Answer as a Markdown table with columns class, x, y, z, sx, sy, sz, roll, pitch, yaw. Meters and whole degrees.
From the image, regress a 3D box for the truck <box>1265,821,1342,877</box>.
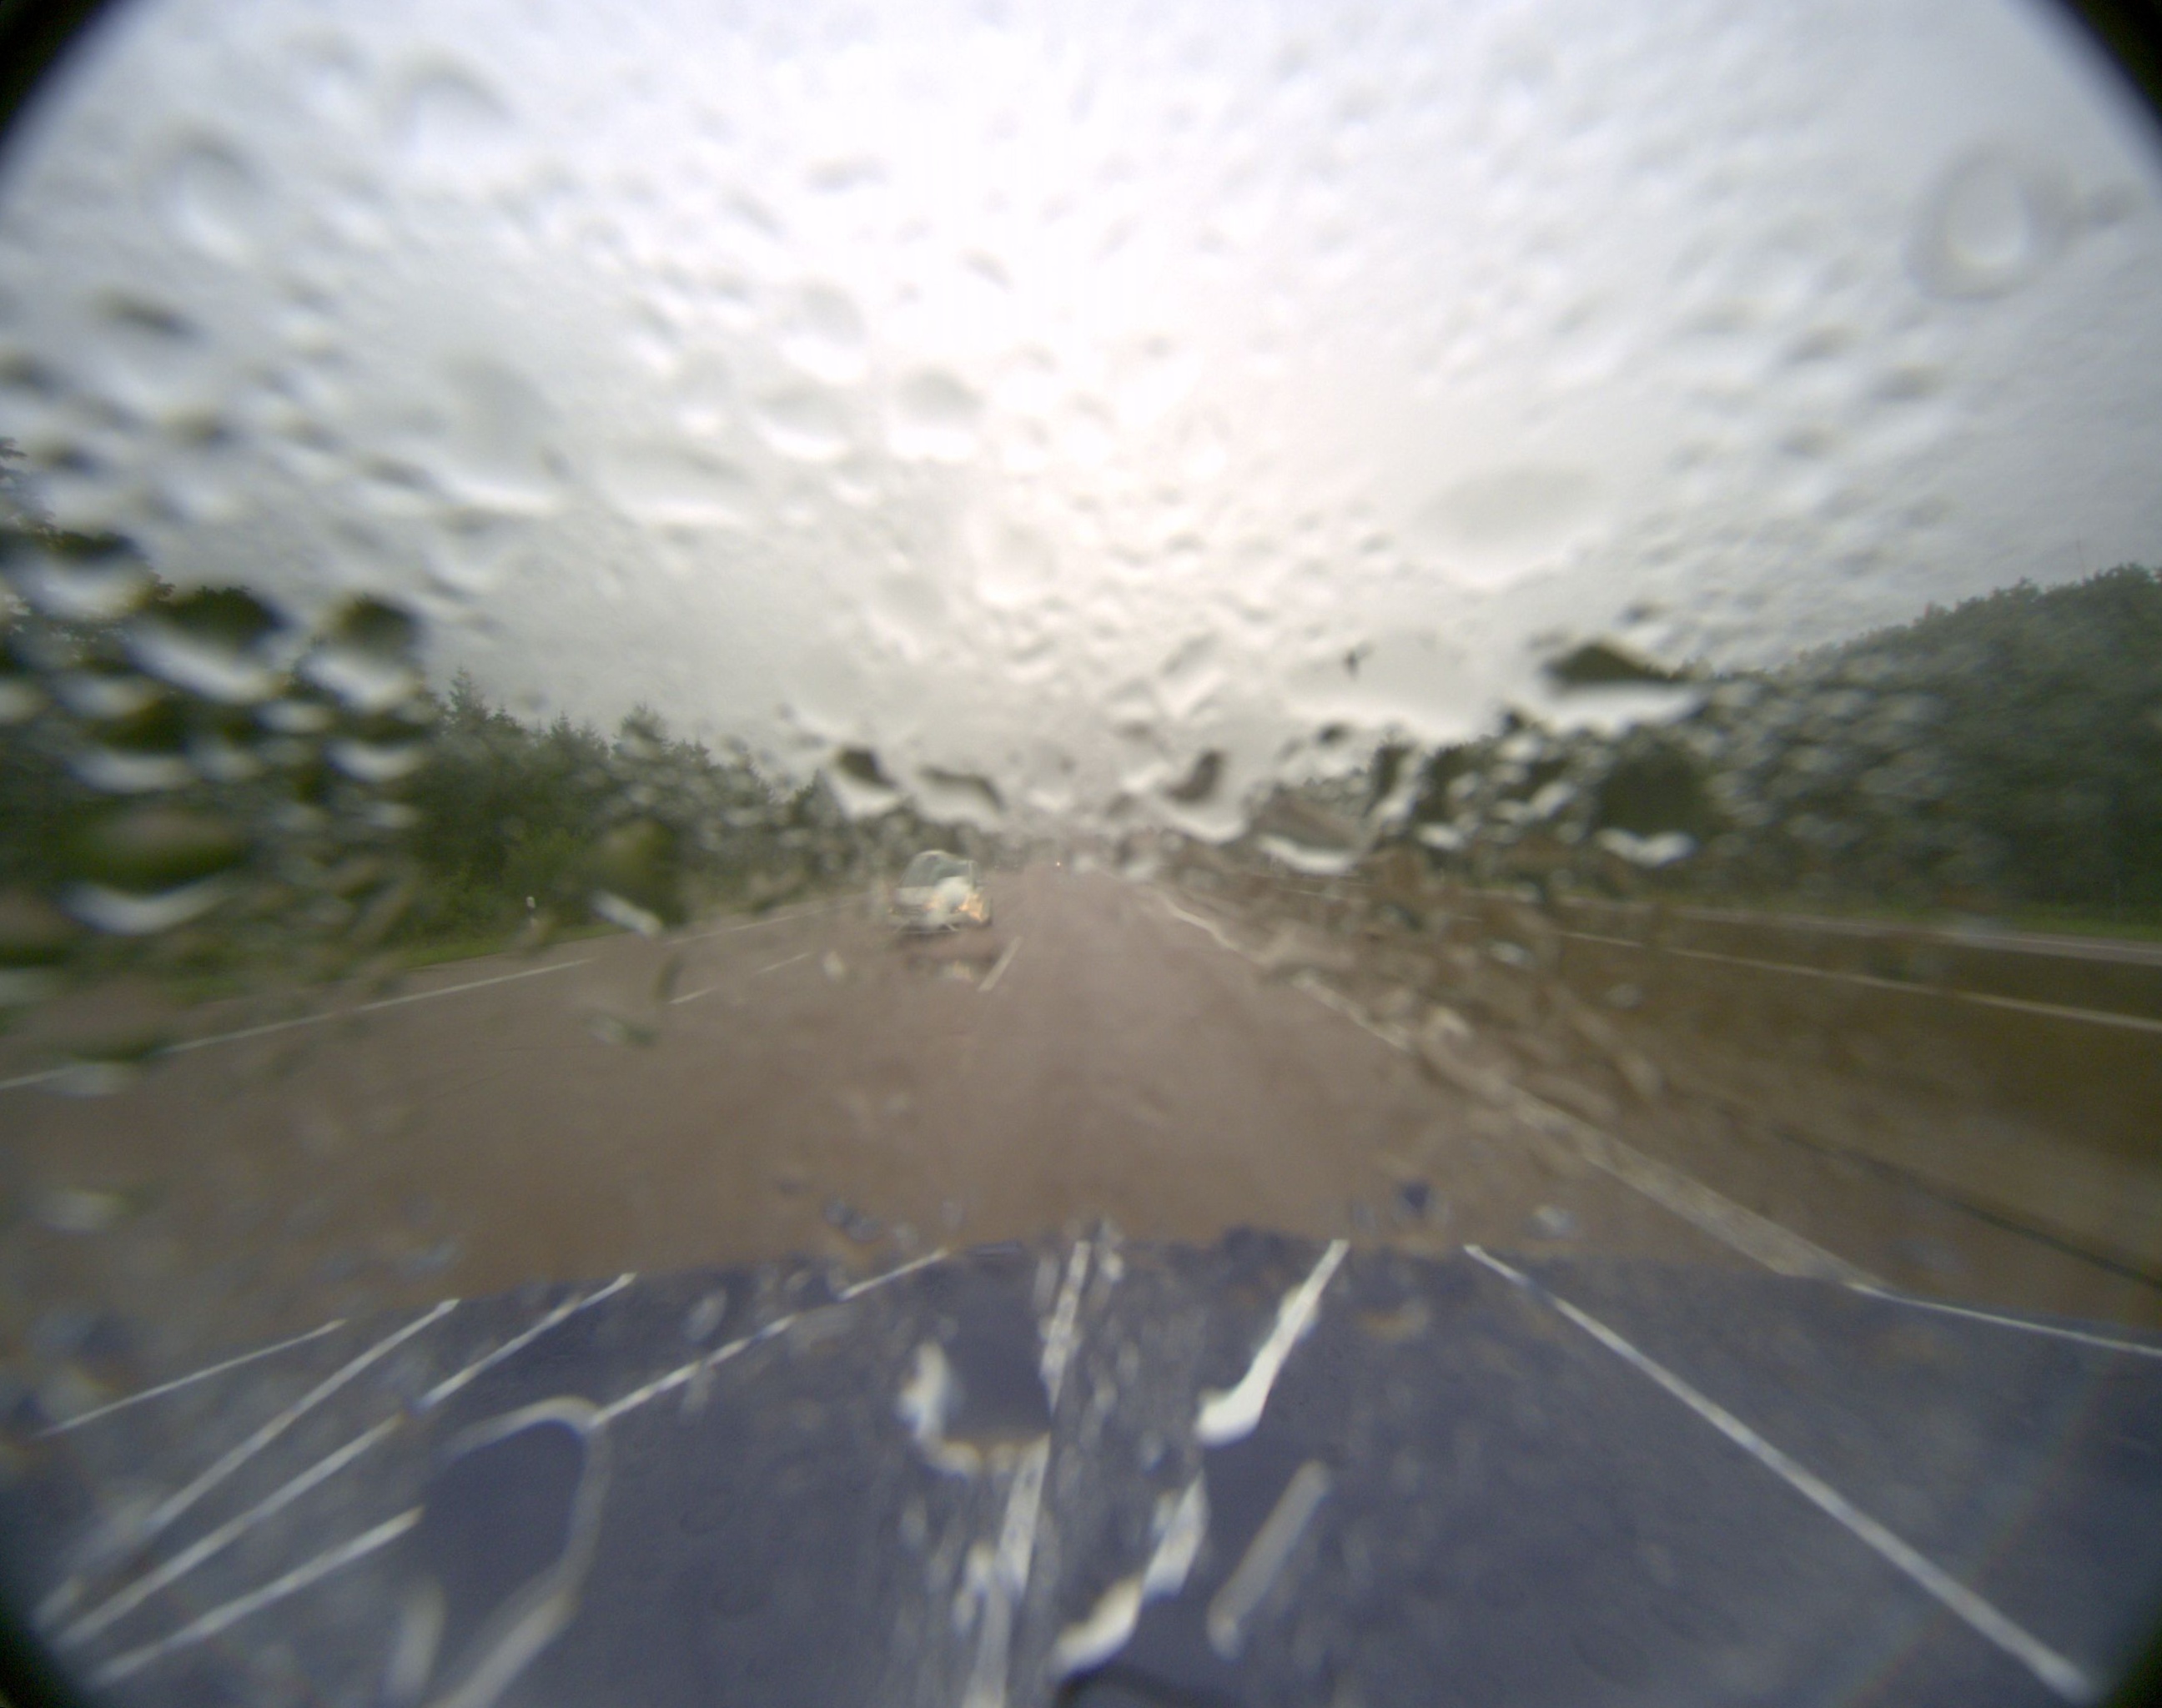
| class | x | y | z | sx | sy | sz | roll | pitch | yaw |
| --- | --- | --- | --- | --- | --- | --- | --- | --- | --- |
| truck | 16.826 | -0.430 | 58.022 | 3.481 | 3.866 | 7.462 | -2 | 1 | -1 |

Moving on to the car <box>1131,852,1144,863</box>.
| class | x | y | z | sx | sy | sz | roll | pitch | yaw |
| --- | --- | --- | --- | --- | --- | --- | --- | --- | --- |
| car | 9.423 | 0.540 | 126.893 | 1.793 | 1.785 | 3.877 | 0 | 0 | 1 |

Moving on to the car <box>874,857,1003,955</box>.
| class | x | y | z | sx | sy | sz | roll | pitch | yaw |
| --- | --- | --- | --- | --- | --- | --- | --- | --- | --- |
| car | -2.908 | 0.984 | 16.580 | 1.813 | 1.718 | 4.743 | -3 | 0 | 0 |

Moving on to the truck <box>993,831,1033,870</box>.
| class | x | y | z | sx | sy | sz | roll | pitch | yaw |
| --- | --- | --- | --- | --- | --- | --- | --- | --- | --- |
| truck | -6.954 | -0.334 | 78.474 | 3.242 | 3.708 | 7.954 | -2 | 0 | 0 |

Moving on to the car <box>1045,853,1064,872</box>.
| class | x | y | z | sx | sy | sz | roll | pitch | yaw |
| --- | --- | --- | --- | --- | --- | --- | --- | --- | --- |
| car | -2.842 | 0.882 | 83.017 | 1.999 | 2.002 | 4.276 | 0 | 0 | -1 |

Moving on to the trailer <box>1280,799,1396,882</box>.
| class | x | y | z | sx | sy | sz | roll | pitch | yaw |
| --- | --- | --- | --- | --- | --- | --- | --- | --- | --- |
| trailer | 16.882 | -0.875 | 51.381 | 3.439 | 4.839 | 12.443 | -2 | 1 | 0 |

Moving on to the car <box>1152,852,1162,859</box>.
| class | x | y | z | sx | sy | sz | roll | pitch | yaw |
| --- | --- | --- | --- | --- | --- | --- | --- | --- | --- |
| car | 16.056 | 0.234 | 160.978 | 1.758 | 1.471 | 4.582 | 1 | 0 | 0 |
